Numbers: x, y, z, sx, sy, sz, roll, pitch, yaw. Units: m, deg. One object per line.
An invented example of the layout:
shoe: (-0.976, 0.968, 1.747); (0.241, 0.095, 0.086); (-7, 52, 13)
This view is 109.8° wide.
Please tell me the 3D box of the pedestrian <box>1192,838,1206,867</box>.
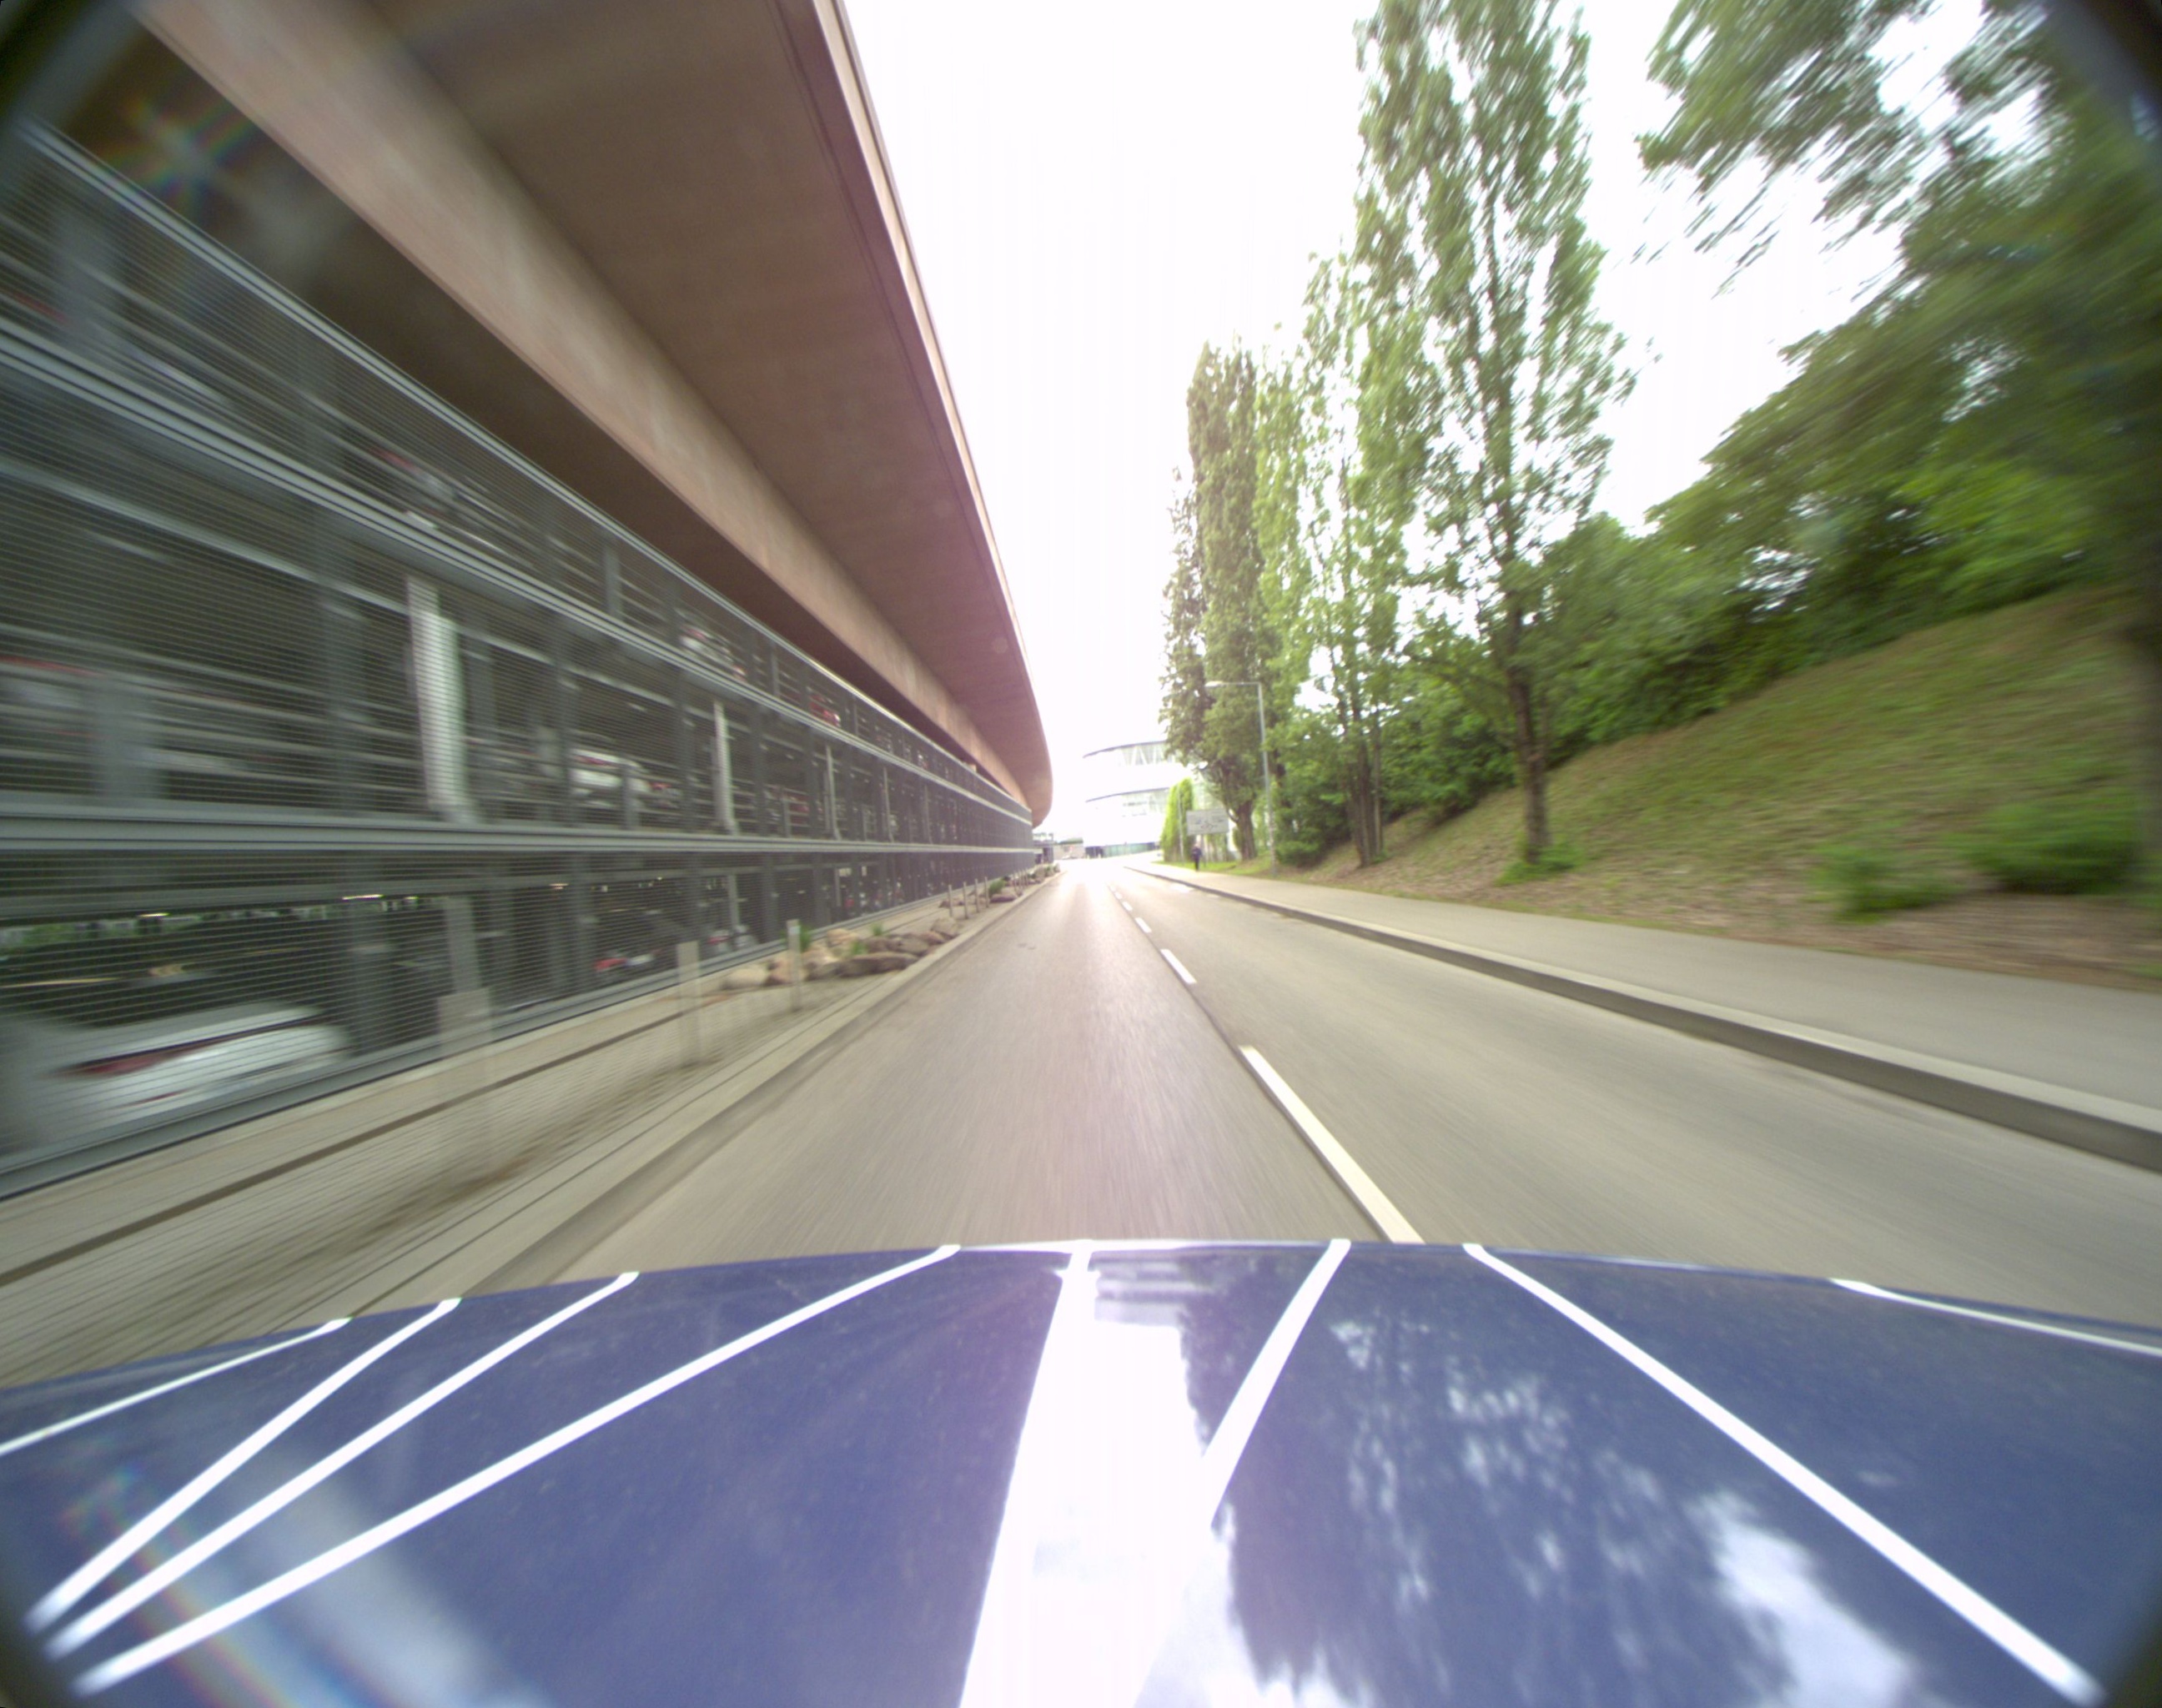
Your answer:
pedestrian: (7.661, -0.108, 49.362); (0.662, 1.883, 0.736); (-3, 2, 0)
